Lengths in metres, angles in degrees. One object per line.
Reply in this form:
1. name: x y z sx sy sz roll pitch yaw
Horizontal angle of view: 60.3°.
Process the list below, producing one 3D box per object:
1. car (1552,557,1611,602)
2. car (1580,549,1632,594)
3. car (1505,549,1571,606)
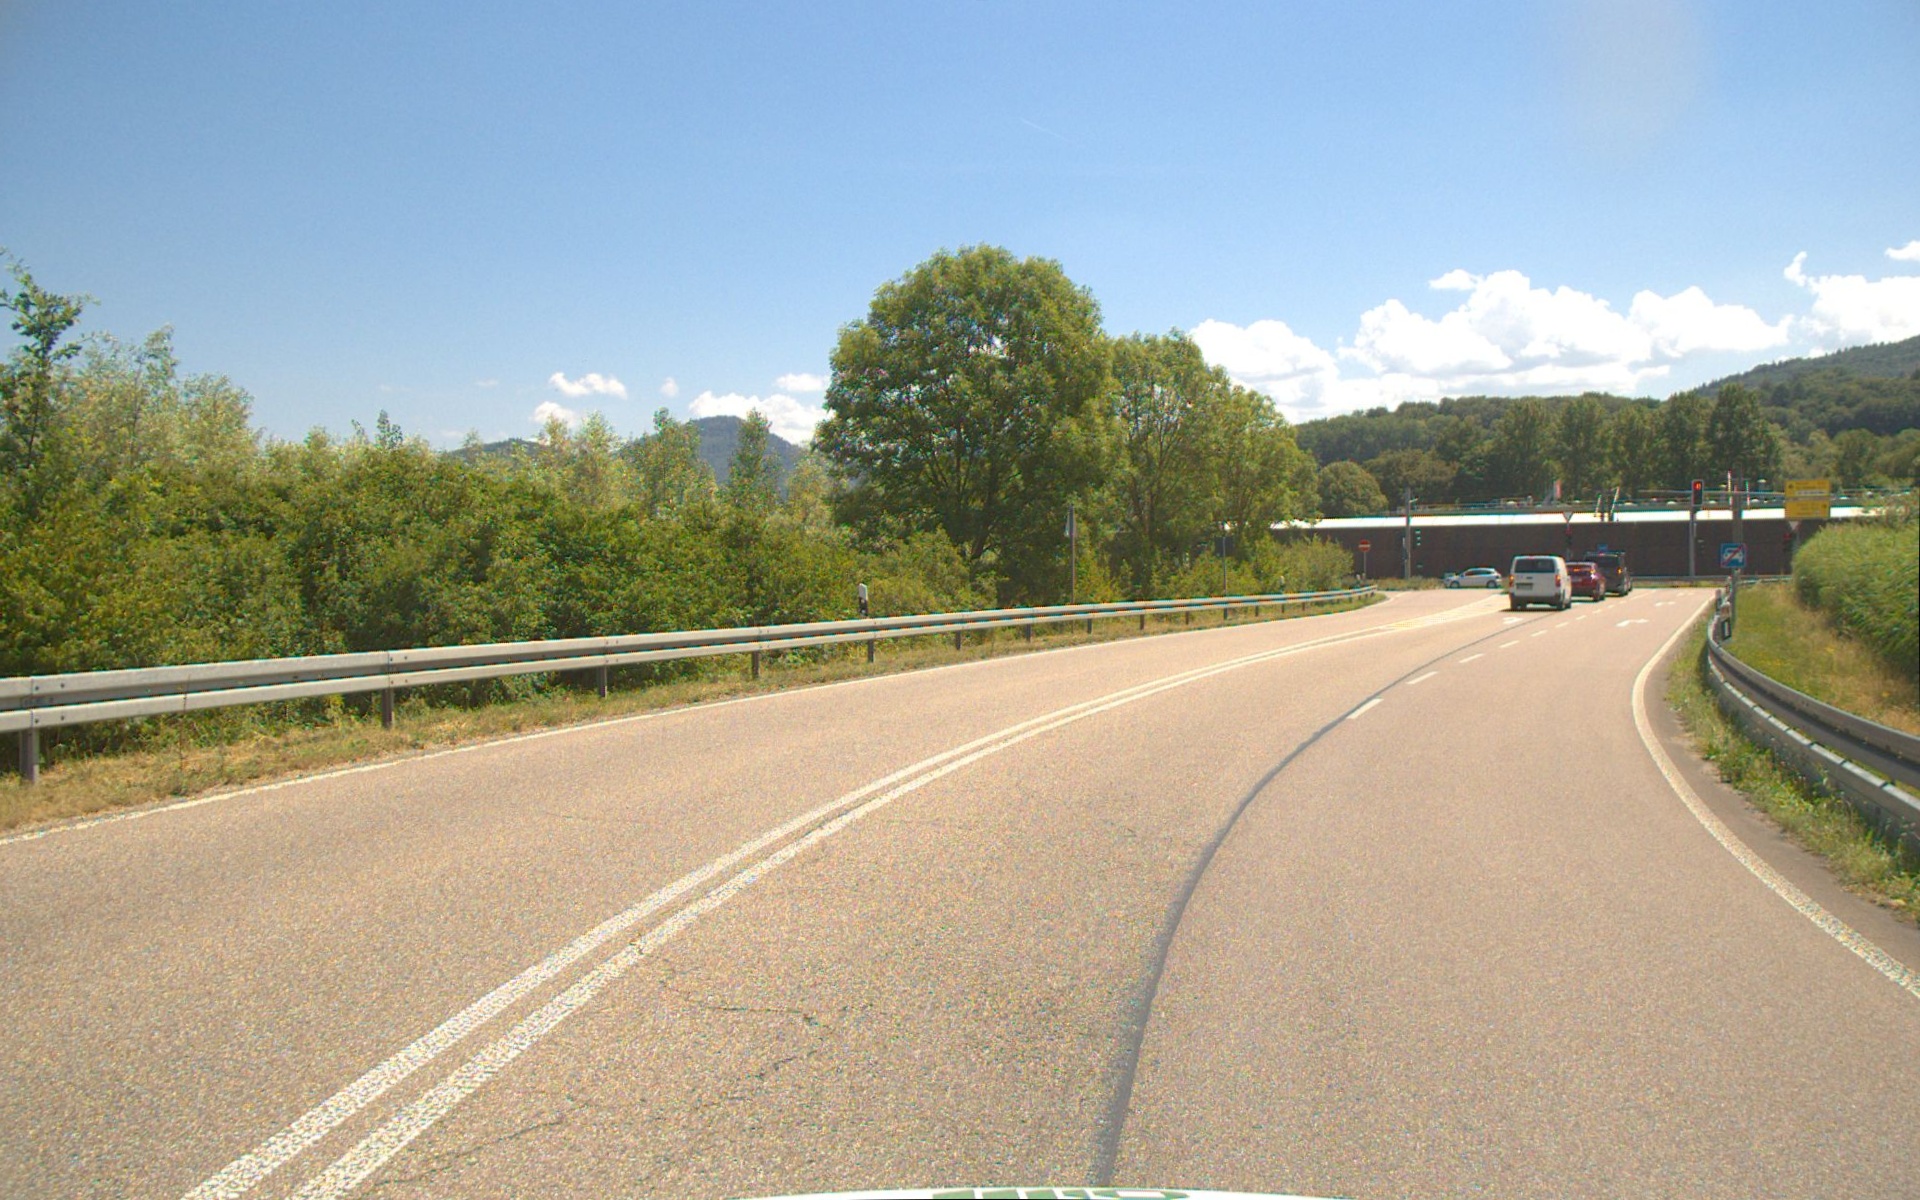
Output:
1. car: 26.808 -0.907 71.305 1.954 1.844 3.997 -2 0 26
2. car: 31.014 -1.374 79.357 1.954 2.048 3.997 -2 0 26
3. car: 21.118 -0.839 60.378 1.833 1.999 3.997 0 1 26
